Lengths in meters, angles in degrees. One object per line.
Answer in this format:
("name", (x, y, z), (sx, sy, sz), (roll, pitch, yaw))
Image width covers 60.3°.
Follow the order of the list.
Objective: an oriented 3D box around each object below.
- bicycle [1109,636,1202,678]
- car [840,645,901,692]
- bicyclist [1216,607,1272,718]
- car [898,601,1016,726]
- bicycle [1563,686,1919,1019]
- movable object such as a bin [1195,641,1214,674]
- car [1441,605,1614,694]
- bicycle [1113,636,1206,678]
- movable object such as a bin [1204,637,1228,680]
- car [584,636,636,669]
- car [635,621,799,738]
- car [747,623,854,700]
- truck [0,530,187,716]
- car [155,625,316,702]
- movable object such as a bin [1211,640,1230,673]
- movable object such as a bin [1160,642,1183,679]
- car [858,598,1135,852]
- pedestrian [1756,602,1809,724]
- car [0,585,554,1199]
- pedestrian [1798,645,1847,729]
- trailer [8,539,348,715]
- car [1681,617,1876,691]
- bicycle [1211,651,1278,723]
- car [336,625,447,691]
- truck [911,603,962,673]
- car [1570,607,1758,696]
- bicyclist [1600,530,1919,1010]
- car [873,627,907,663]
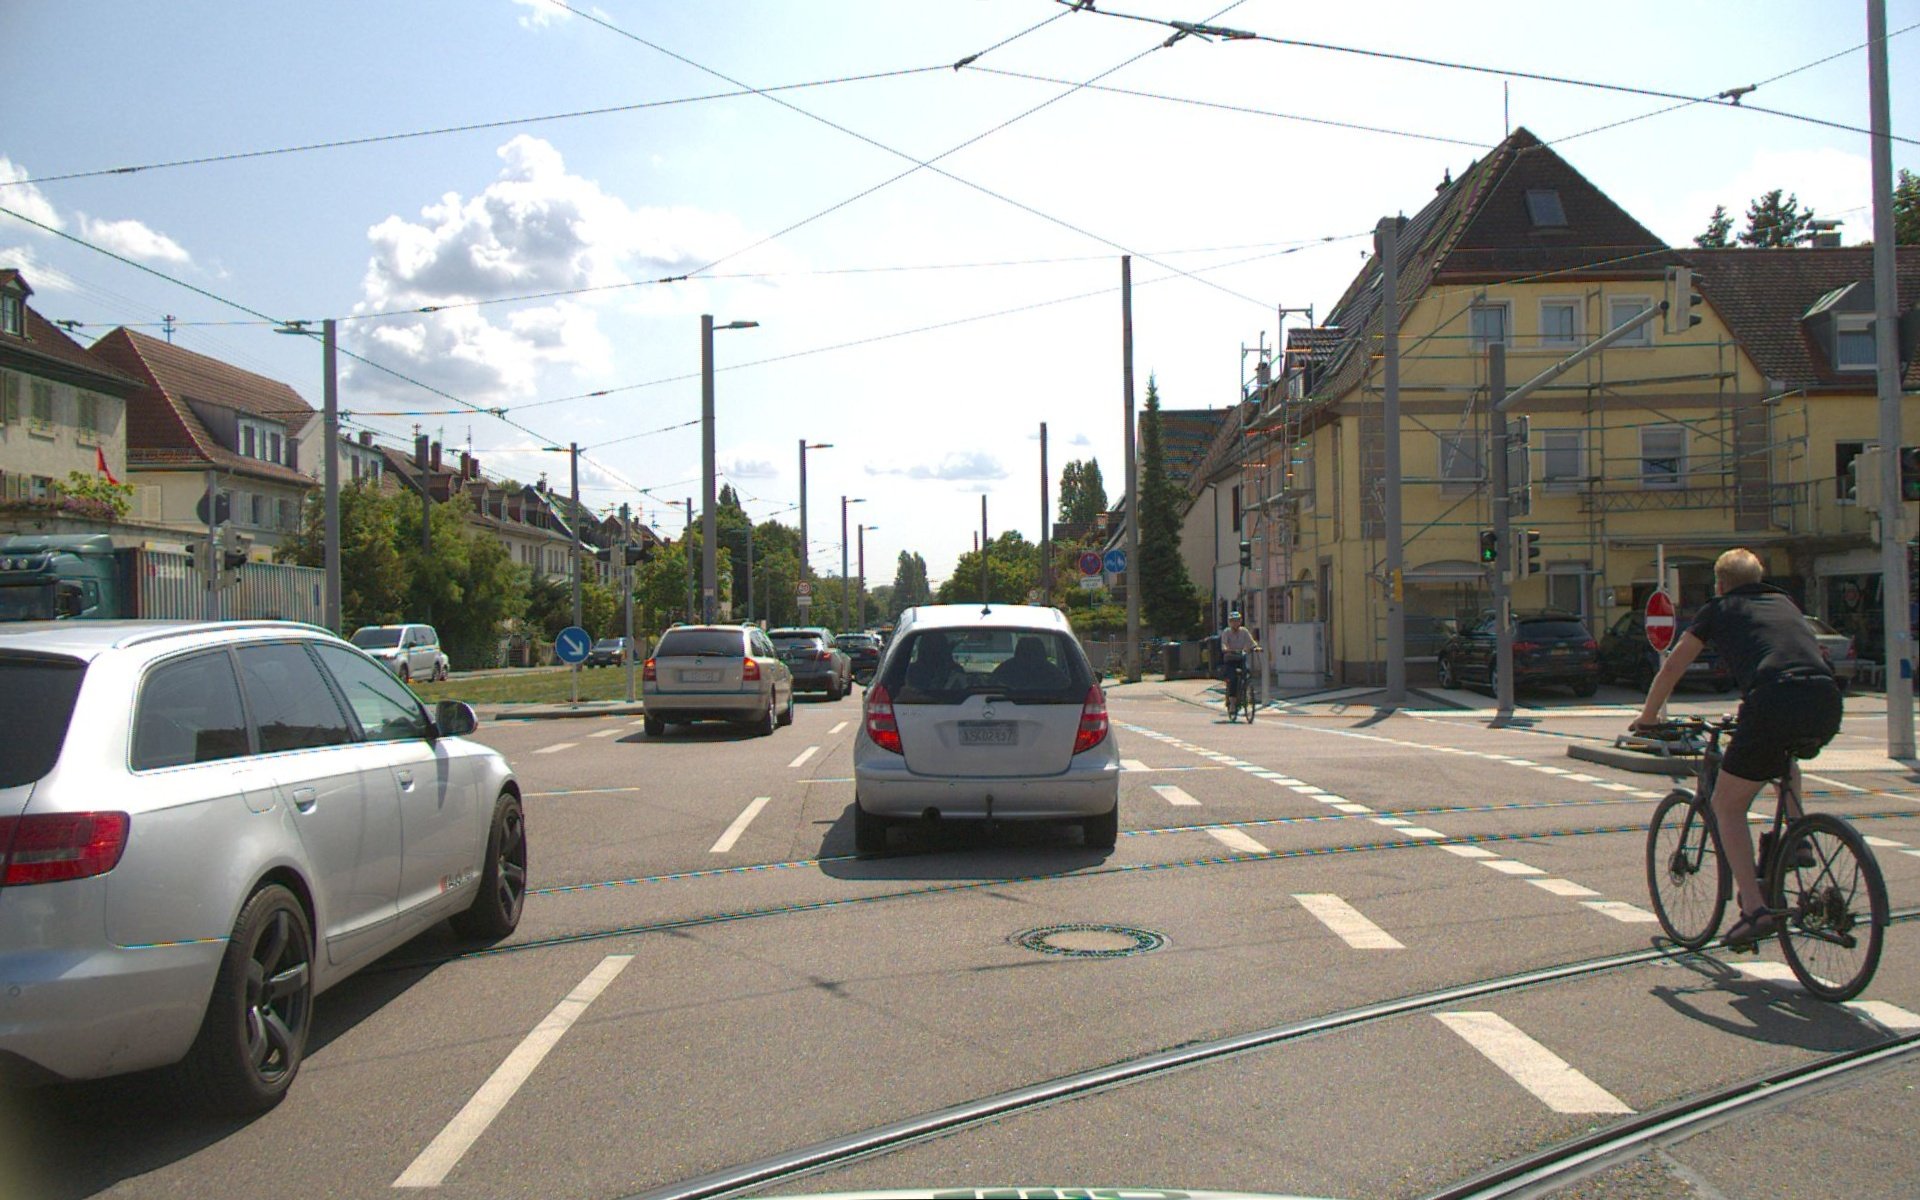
("bicycle", (5.820, 1.695, 49.316), (2.671, 1.139, 0.691), (-2, -2, -2))
("car", (-2.810, 2.162, 52.549), (1.815, 1.413, 4.511), (1, -2, -2))
("bicyclist", (4.631, 1.014, 26.998), (0.638, 1.768, 0.982), (1, -2, -7))
("car", (-0.071, 0.986, 26.075), (1.695, 1.793, 4.015), (1, -2, -1))
("bicycle", (3.365, 0.970, 7.016), (0.811, 1.094, 1.970), (-2, -1, -2))
("movable object such as a bin", (7.240, 1.699, 49.030), (0.458, 0.963, 0.558), (-1, -2, -1))
("car", (11.025, 0.967, 32.457), (1.953, 1.624, 4.130), (1, -2, 0))
("bicycle", (5.854, 1.665, 48.566), (2.608, 1.124, 0.786), (-2, -2, -2))
("movable object such as a bin", (6.689, 1.525, 43.251), (0.501, 1.125, 0.855), (0, -2, 0))
("car", (-19.887, 2.984, 94.174), (1.974, 1.742, 4.934), (-2, -2, -2))
("car", (-3.294, 1.037, 23.131), (1.696, 1.474, 4.122), (1, -1, 0))
("car", (-3.303, 1.267, 34.978), (1.877, 1.503, 4.560), (1, -2, -1))
("truck", (-20.513, 0.545, 37.953), (2.545, 3.888, 5.668), (-3, -1, 2))
("car", (-17.149, 1.491, 39.374), (1.757, 1.665, 4.471), (-2, -2, 1))
("movable object such as a bin", (7.721, 1.668, 49.033), (0.458, 0.963, 0.558), (-1, -2, -1))
("movable object such as a bin", (5.504, 1.575, 43.127), (0.501, 0.934, 0.741), (0, -2, 0))
("car", (0.144, 0.828, 12.169), (1.695, 1.543, 4.014), (1, -2, -3))
("pedestrian", (11.413, 0.871, 22.971), (0.535, 1.672, 0.401), (0, -2, 4))
("car", (-2.918, 0.770, 6.113), (1.758, 1.498, 4.720), (-1, -1, -1))
("pedestrian", (11.973, 1.202, 22.964), (0.478, 1.156, 0.389), (1, -2, 0))
("trailer", (-20.306, 0.661, 44.326), (2.545, 3.888, 12.838), (-3, 0, 2))
("car", (16.188, 1.073, 32.964), (1.829, 1.375, 4.130), (1, -2, 0))
("bicycle", (4.631, 1.397, 26.980), (0.638, 1.137, 1.585), (1, -2, -7))
("car", (-17.136, 1.756, 50.069), (1.758, 1.847, 4.711), (-2, -2, -1))
("truck", (-0.972, 1.515, 65.076), (1.815, 2.597, 5.851), (1, -2, -2))
("car", (13.791, 1.008, 32.680), (1.953, 1.624, 4.130), (1, -2, 0))
("bicyclist", (3.354, 0.661, 6.955), (0.811, 1.825, 1.083), (-2, -1, -2))
("car", (-3.771, 2.455, 89.292), (1.815, 1.875, 3.916), (1, -2, -2))
